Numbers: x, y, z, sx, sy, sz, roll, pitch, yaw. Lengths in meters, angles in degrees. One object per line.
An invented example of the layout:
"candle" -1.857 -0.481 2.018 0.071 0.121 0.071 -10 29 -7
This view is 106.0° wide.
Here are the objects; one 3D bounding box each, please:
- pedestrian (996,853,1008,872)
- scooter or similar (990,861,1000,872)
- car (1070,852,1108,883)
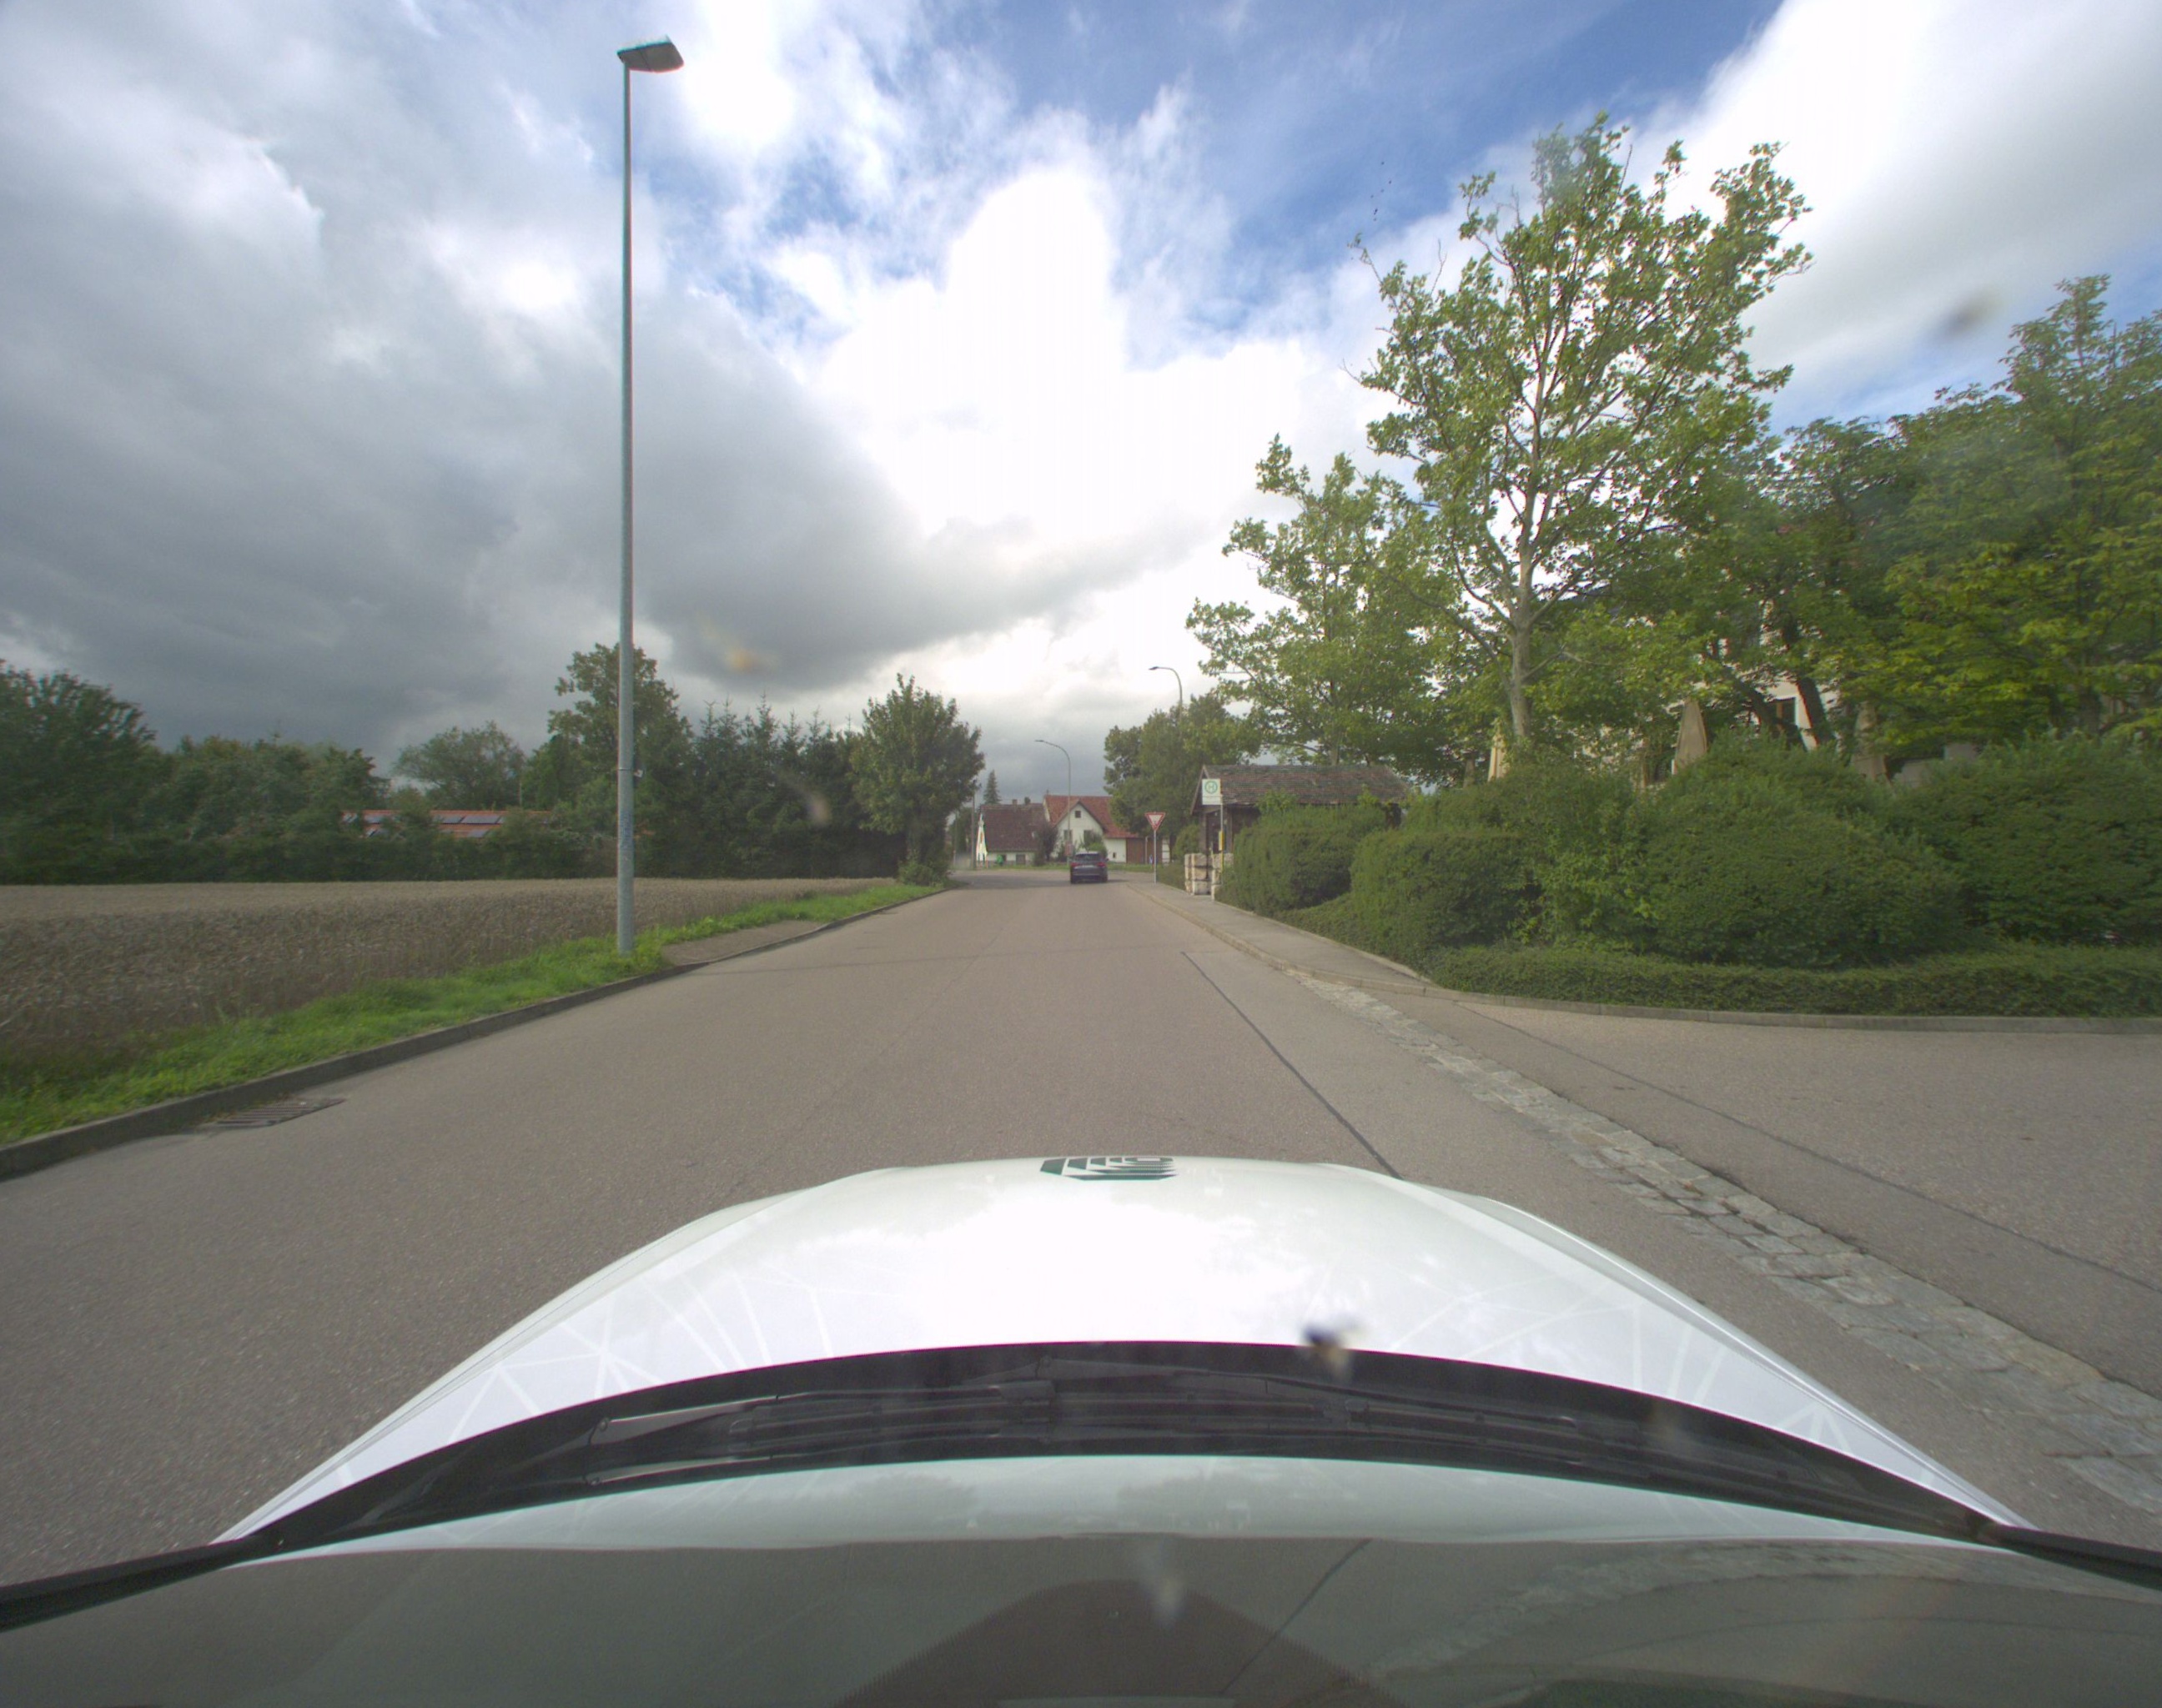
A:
"pedestrian" -7.306 0.784 75.089 0.794 1.665 0.705 5 -3 -33
"scooter or similar" -7.998 1.153 75.447 0.635 0.948 0.616 5 -3 -33
"car" 0.428 0.631 41.050 1.792 1.462 3.664 -1 0 2
